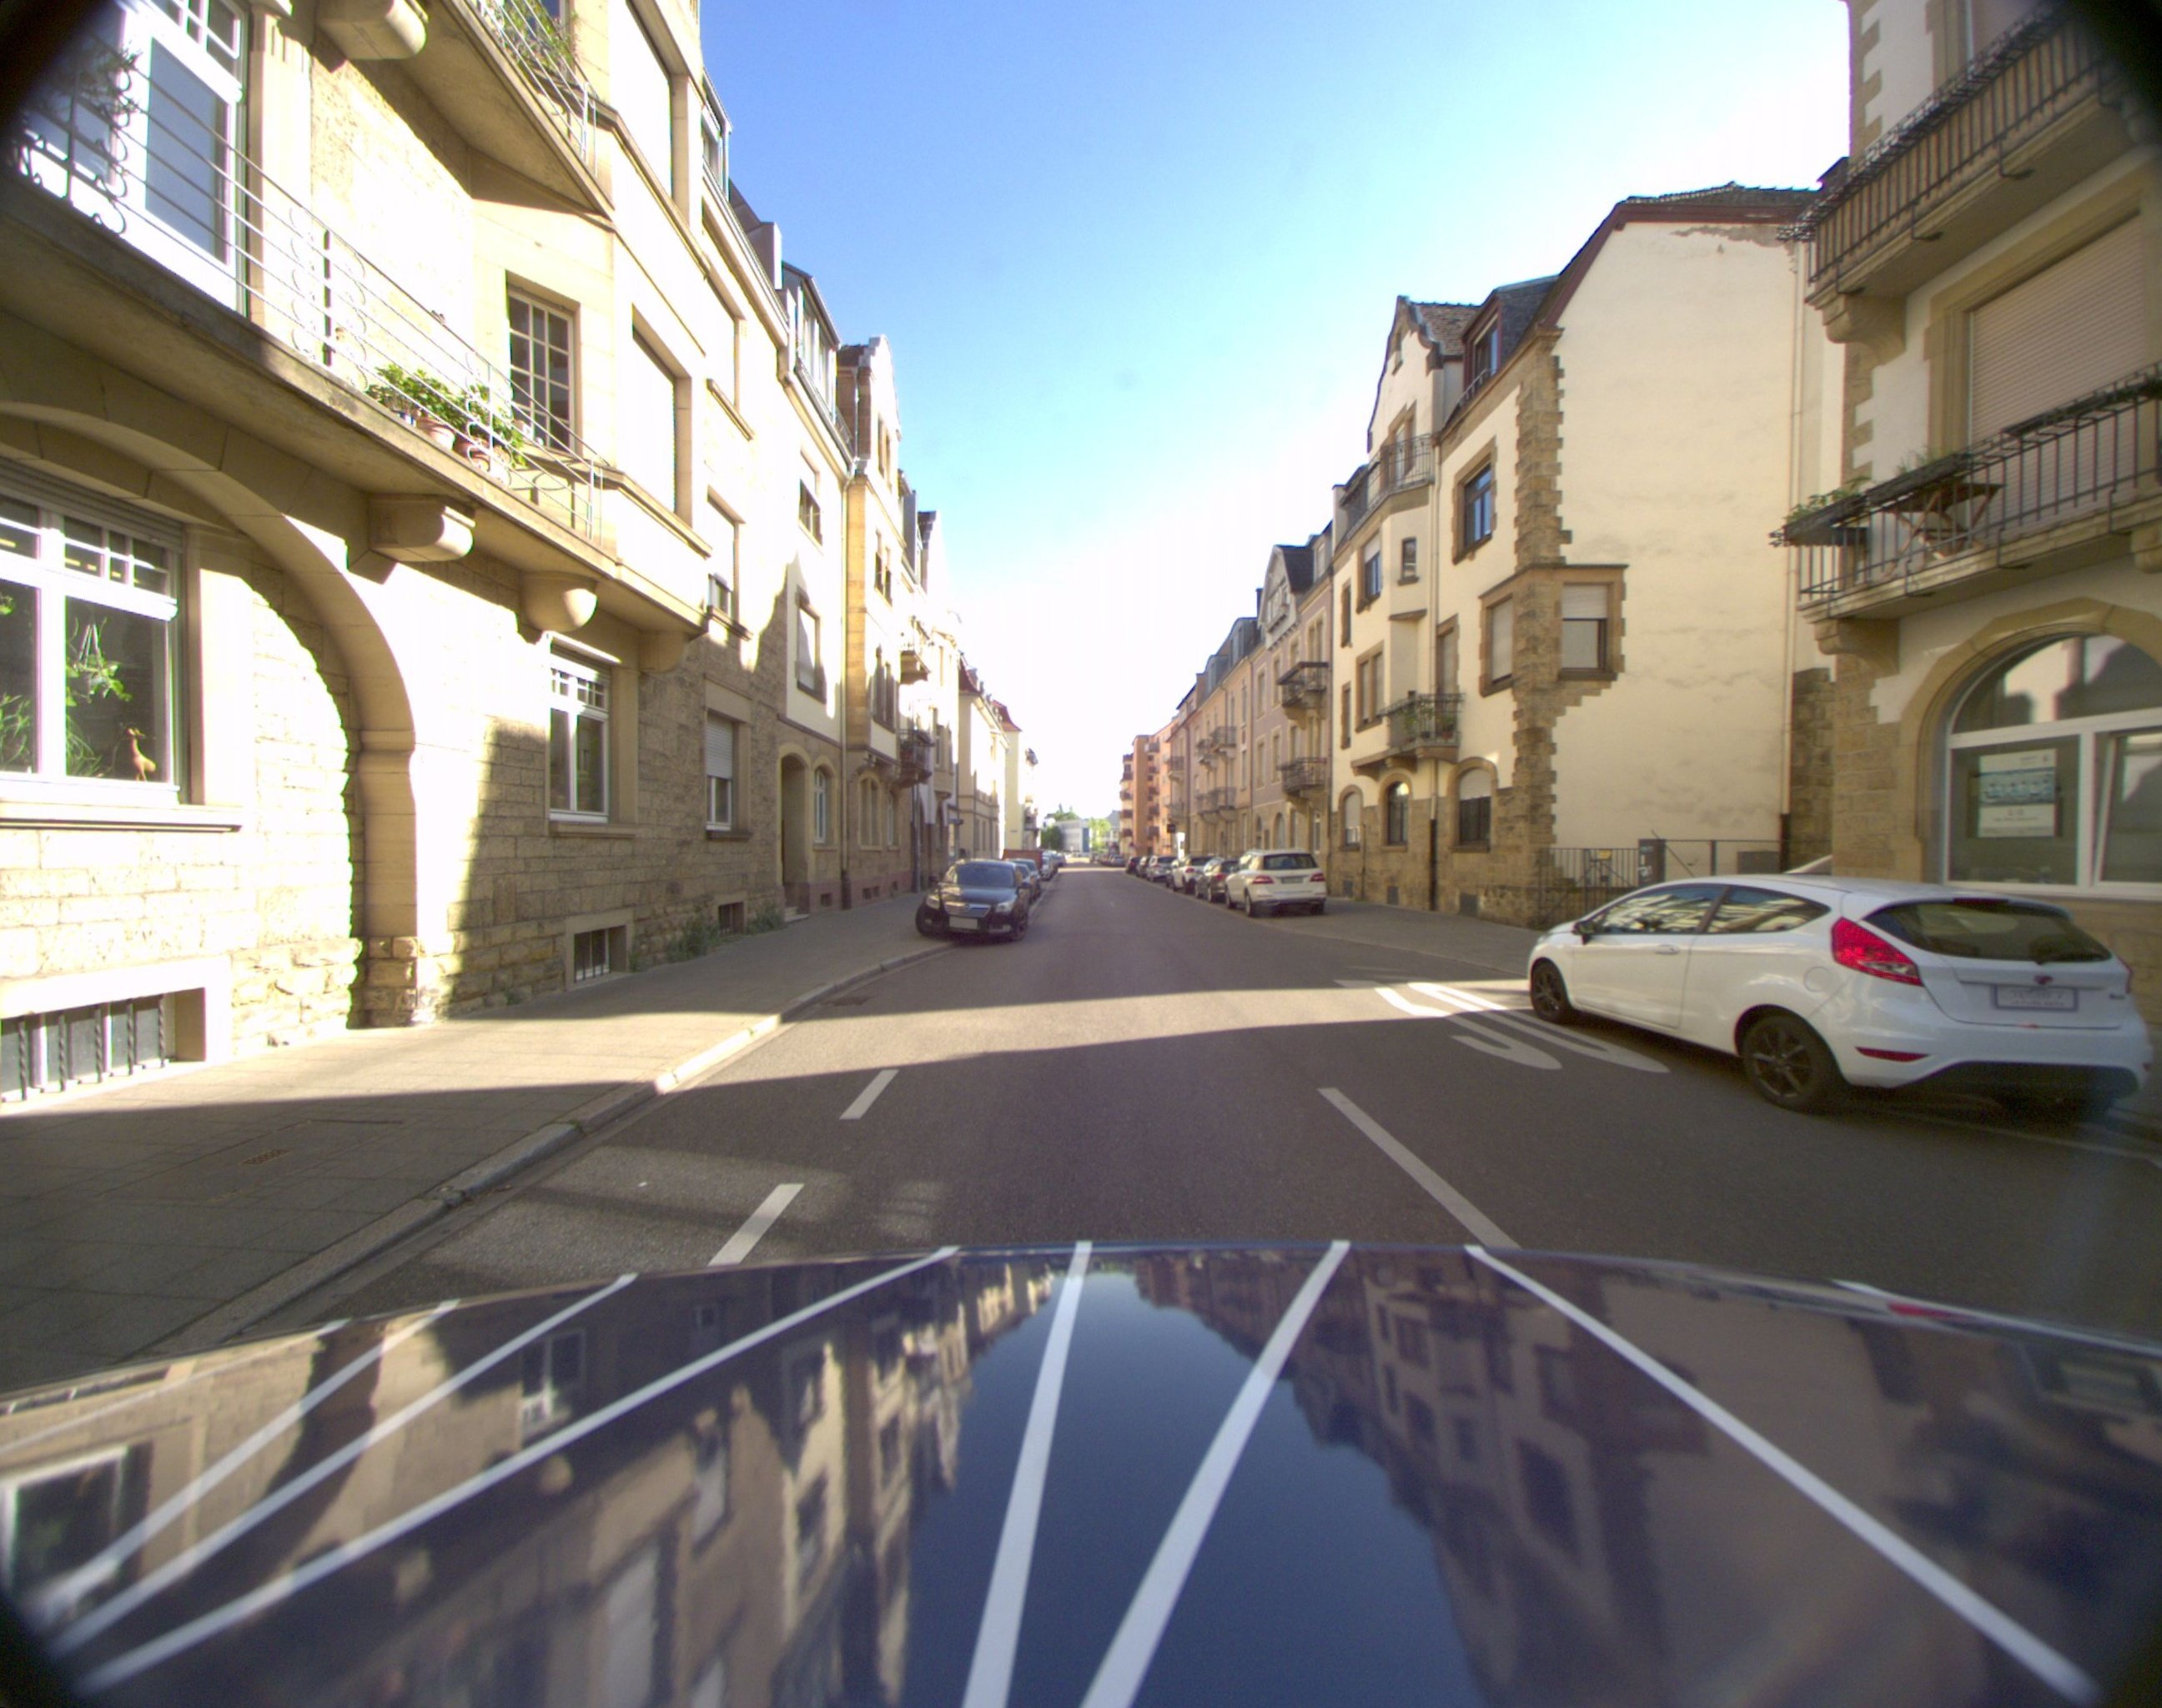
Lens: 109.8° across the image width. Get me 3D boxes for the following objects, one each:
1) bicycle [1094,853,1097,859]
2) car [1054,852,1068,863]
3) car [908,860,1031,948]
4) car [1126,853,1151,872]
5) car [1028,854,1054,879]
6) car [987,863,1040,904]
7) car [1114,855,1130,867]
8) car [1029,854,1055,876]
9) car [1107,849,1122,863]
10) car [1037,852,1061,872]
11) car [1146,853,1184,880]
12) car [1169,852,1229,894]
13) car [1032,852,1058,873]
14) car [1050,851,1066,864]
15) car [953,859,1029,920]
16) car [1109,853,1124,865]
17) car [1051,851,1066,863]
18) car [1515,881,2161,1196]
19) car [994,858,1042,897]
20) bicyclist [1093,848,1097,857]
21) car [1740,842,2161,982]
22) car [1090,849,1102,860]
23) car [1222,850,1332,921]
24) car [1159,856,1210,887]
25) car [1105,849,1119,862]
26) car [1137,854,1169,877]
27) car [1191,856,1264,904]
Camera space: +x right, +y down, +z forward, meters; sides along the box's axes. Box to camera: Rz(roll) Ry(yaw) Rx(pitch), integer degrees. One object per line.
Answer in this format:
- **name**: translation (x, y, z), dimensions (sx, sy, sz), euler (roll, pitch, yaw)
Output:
- **bicycle**: translation (2.370, 0.316, 127.435), dimensions (0.541, 1.070, 1.800), euler (0, 0, 1)
- **car**: translation (-2.650, 0.410, 99.699), dimensions (1.708, 1.417, 3.721), euler (0, 0, -2)
- **car**: translation (-2.065, 0.881, 15.257), dimensions (1.870, 1.453, 4.338), euler (0, 0, -1)
- **car**: translation (4.725, 0.676, 62.676), dimensions (1.719, 1.378, 3.864), euler (-3, 0, 0)
- **car**: translation (-2.470, 0.746, 47.628), dimensions (1.590, 1.456, 3.711), euler (0, 0, -2)
- **car**: translation (-2.282, 0.970, 26.192), dimensions (1.698, 1.247, 3.939), euler (0, 0, -4)
- **car**: translation (4.913, 0.868, 91.101), dimensions (1.678, 1.414, 3.500), euler (0, 0, 0)
- **car**: translation (-2.668, 0.738, 53.015), dimensions (1.657, 1.456, 4.093), euler (0, 0, -1)
- **car**: translation (4.520, 0.225, 102.011), dimensions (1.822, 1.867, 4.111), euler (0, 0, -1)
- **car**: translation (-2.643, 0.639, 63.517), dimensions (1.791, 1.655, 4.434), euler (0, 0, 1)
- **car**: translation (5.003, 0.737, 45.697), dimensions (1.719, 1.529, 3.722), euler (-1, 0, -2)
- **car**: translation (4.922, 0.761, 32.183), dimensions (1.719, 1.574, 4.019), euler (-3, 0, -2)
- **car**: translation (-2.761, 0.603, 59.083), dimensions (1.684, 1.537, 3.914), euler (1, 0, 1)
- **car**: translation (-2.613, 0.384, 87.886), dimensions (1.708, 1.417, 3.721), euler (1, 1, -1)
- **car**: translation (-2.381, 0.902, 20.923), dimensions (1.655, 1.434, 4.257), euler (1, 0, -1)
- **car**: translation (4.519, 0.618, 96.331), dimensions (1.678, 1.414, 3.285), euler (2, 1, 0)
- **car**: translation (-2.756, 0.339, 93.349), dimensions (1.708, 1.417, 3.721), euler (1, 1, -1)
- **car**: translation (5.132, 1.014, 5.773), dimensions (1.637, 1.455, 3.735), euler (0, 1, 2)
- **car**: translation (-2.491, 0.887, 30.554), dimensions (1.791, 1.421, 3.806), euler (0, 0, -4)
- **bicyclist**: translation (2.387, -0.249, 127.522), dimensions (0.609, 1.656, 0.632), euler (0, 1, 0)
- **car**: translation (11.835, 0.718, 10.380), dimensions (3.978, 1.718, 1.909), euler (0, 0, 0)
- **car**: translation (2.820, 0.060, 140.666), dimensions (1.868, 1.925, 4.598), euler (0, 0, -3)
- **car**: translation (5.214, 0.754, 20.901), dimensions (1.896, 1.712, 4.726), euler (-1, 0, 1)
- **car**: translation (5.041, 0.832, 37.567), dimensions (1.677, 1.385, 3.664), euler (-3, 0, -5)
- **car**: translation (4.312, 0.192, 107.808), dimensions (1.822, 1.867, 4.111), euler (0, 0, 0)
- **car**: translation (4.895, 0.753, 52.389), dimensions (1.719, 1.512, 4.109), euler (1, 0, -1)
- **car**: translation (5.044, 0.857, 26.683), dimensions (1.578, 1.479, 4.279), euler (-2, 0, -2)
